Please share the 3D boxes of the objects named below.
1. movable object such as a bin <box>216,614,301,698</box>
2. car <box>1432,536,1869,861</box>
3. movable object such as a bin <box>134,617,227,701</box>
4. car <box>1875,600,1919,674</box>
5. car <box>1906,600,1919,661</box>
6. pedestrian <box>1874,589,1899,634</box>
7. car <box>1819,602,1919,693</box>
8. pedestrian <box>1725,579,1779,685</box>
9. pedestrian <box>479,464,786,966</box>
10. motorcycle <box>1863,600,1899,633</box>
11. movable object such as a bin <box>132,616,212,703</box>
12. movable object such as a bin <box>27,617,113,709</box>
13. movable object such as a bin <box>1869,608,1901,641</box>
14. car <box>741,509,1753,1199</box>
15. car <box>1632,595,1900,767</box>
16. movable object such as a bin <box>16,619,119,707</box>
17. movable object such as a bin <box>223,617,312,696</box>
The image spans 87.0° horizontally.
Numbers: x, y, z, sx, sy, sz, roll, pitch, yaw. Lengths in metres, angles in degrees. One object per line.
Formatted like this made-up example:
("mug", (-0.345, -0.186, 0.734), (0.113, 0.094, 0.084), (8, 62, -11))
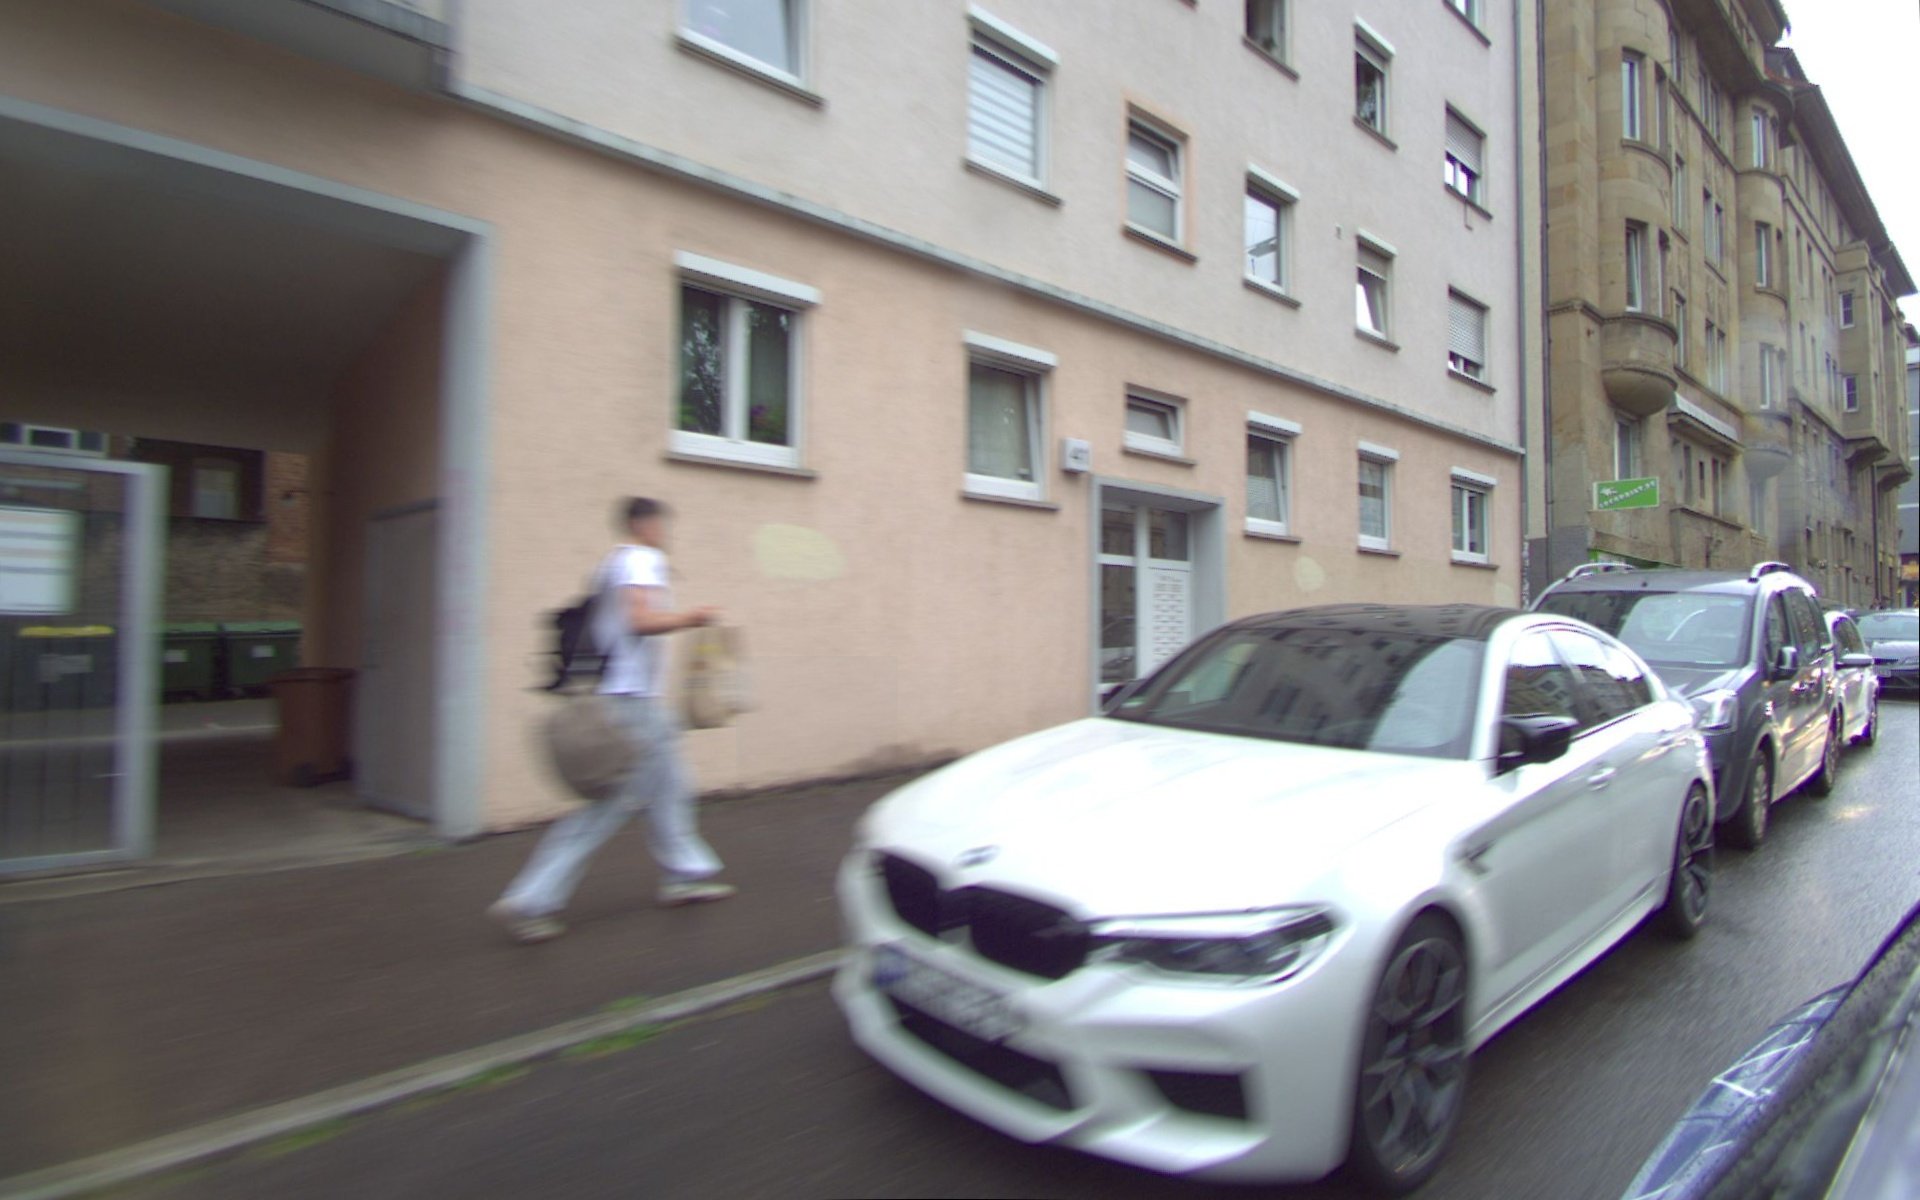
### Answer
("movable object such as a bin", (-13.489, 1.046, 19.462), (1.231, 1.518, 1.221), (0, -1, -41))
("car", (5.366, 0.532, 7.640), (4.139, 1.787, 1.793), (0, 0, -42))
("movable object such as a bin", (-14.436, 1.058, 18.737), (1.314, 1.453, 1.125), (0, -1, -40))
("car", (20.634, 0.746, 21.319), (3.888, 1.452, 1.670), (0, 0, -42))
("car", (24.831, 0.747, 25.247), (3.622, 1.452, 1.592), (0, 0, -43))
("pedestrian", (32.337, 0.410, 35.307), (0.697, 1.555, 0.562), (0, -1, -41))
("car", (16.353, 0.751, 17.603), (4.239, 1.428, 1.671), (0, 0, -43))
("pedestrian", (13.740, 0.538, 17.558), (0.677, 1.785, 0.608), (1, 1, -42))
("pedestrian", (-1.405, 0.416, 4.354), (1.020, 1.856, 0.747), (1, 1, -40))
("motorcycle", (35.537, 0.616, 39.037), (2.698, 1.214, 0.706), (0, -1, -41))
("movable object such as a bin", (-14.525, 1.059, 18.659), (1.101, 1.518, 1.221), (0, -1, -41))
("movable object such as a bin", (-15.616, 1.074, 17.787), (1.101, 1.518, 1.221), (0, -1, -41))
("movable object such as a bin", (31.683, 0.829, 34.667), (1.104, 1.117, 0.666), (0, -1, -41))
("car", (1.676, 0.575, 4.273), (4.819, 1.474, 1.873), (0, -1, -42))
("car", (8.449, 0.700, 10.517), (3.536, 1.480, 1.573), (0, 0, -41))
("movable object such as a bin", (-15.652, 1.066, 17.801), (1.314, 1.453, 1.125), (0, -1, -40))
("movable object such as a bin", (-13.415, 1.057, 19.615), (1.314, 1.453, 1.125), (0, -1, -40))
